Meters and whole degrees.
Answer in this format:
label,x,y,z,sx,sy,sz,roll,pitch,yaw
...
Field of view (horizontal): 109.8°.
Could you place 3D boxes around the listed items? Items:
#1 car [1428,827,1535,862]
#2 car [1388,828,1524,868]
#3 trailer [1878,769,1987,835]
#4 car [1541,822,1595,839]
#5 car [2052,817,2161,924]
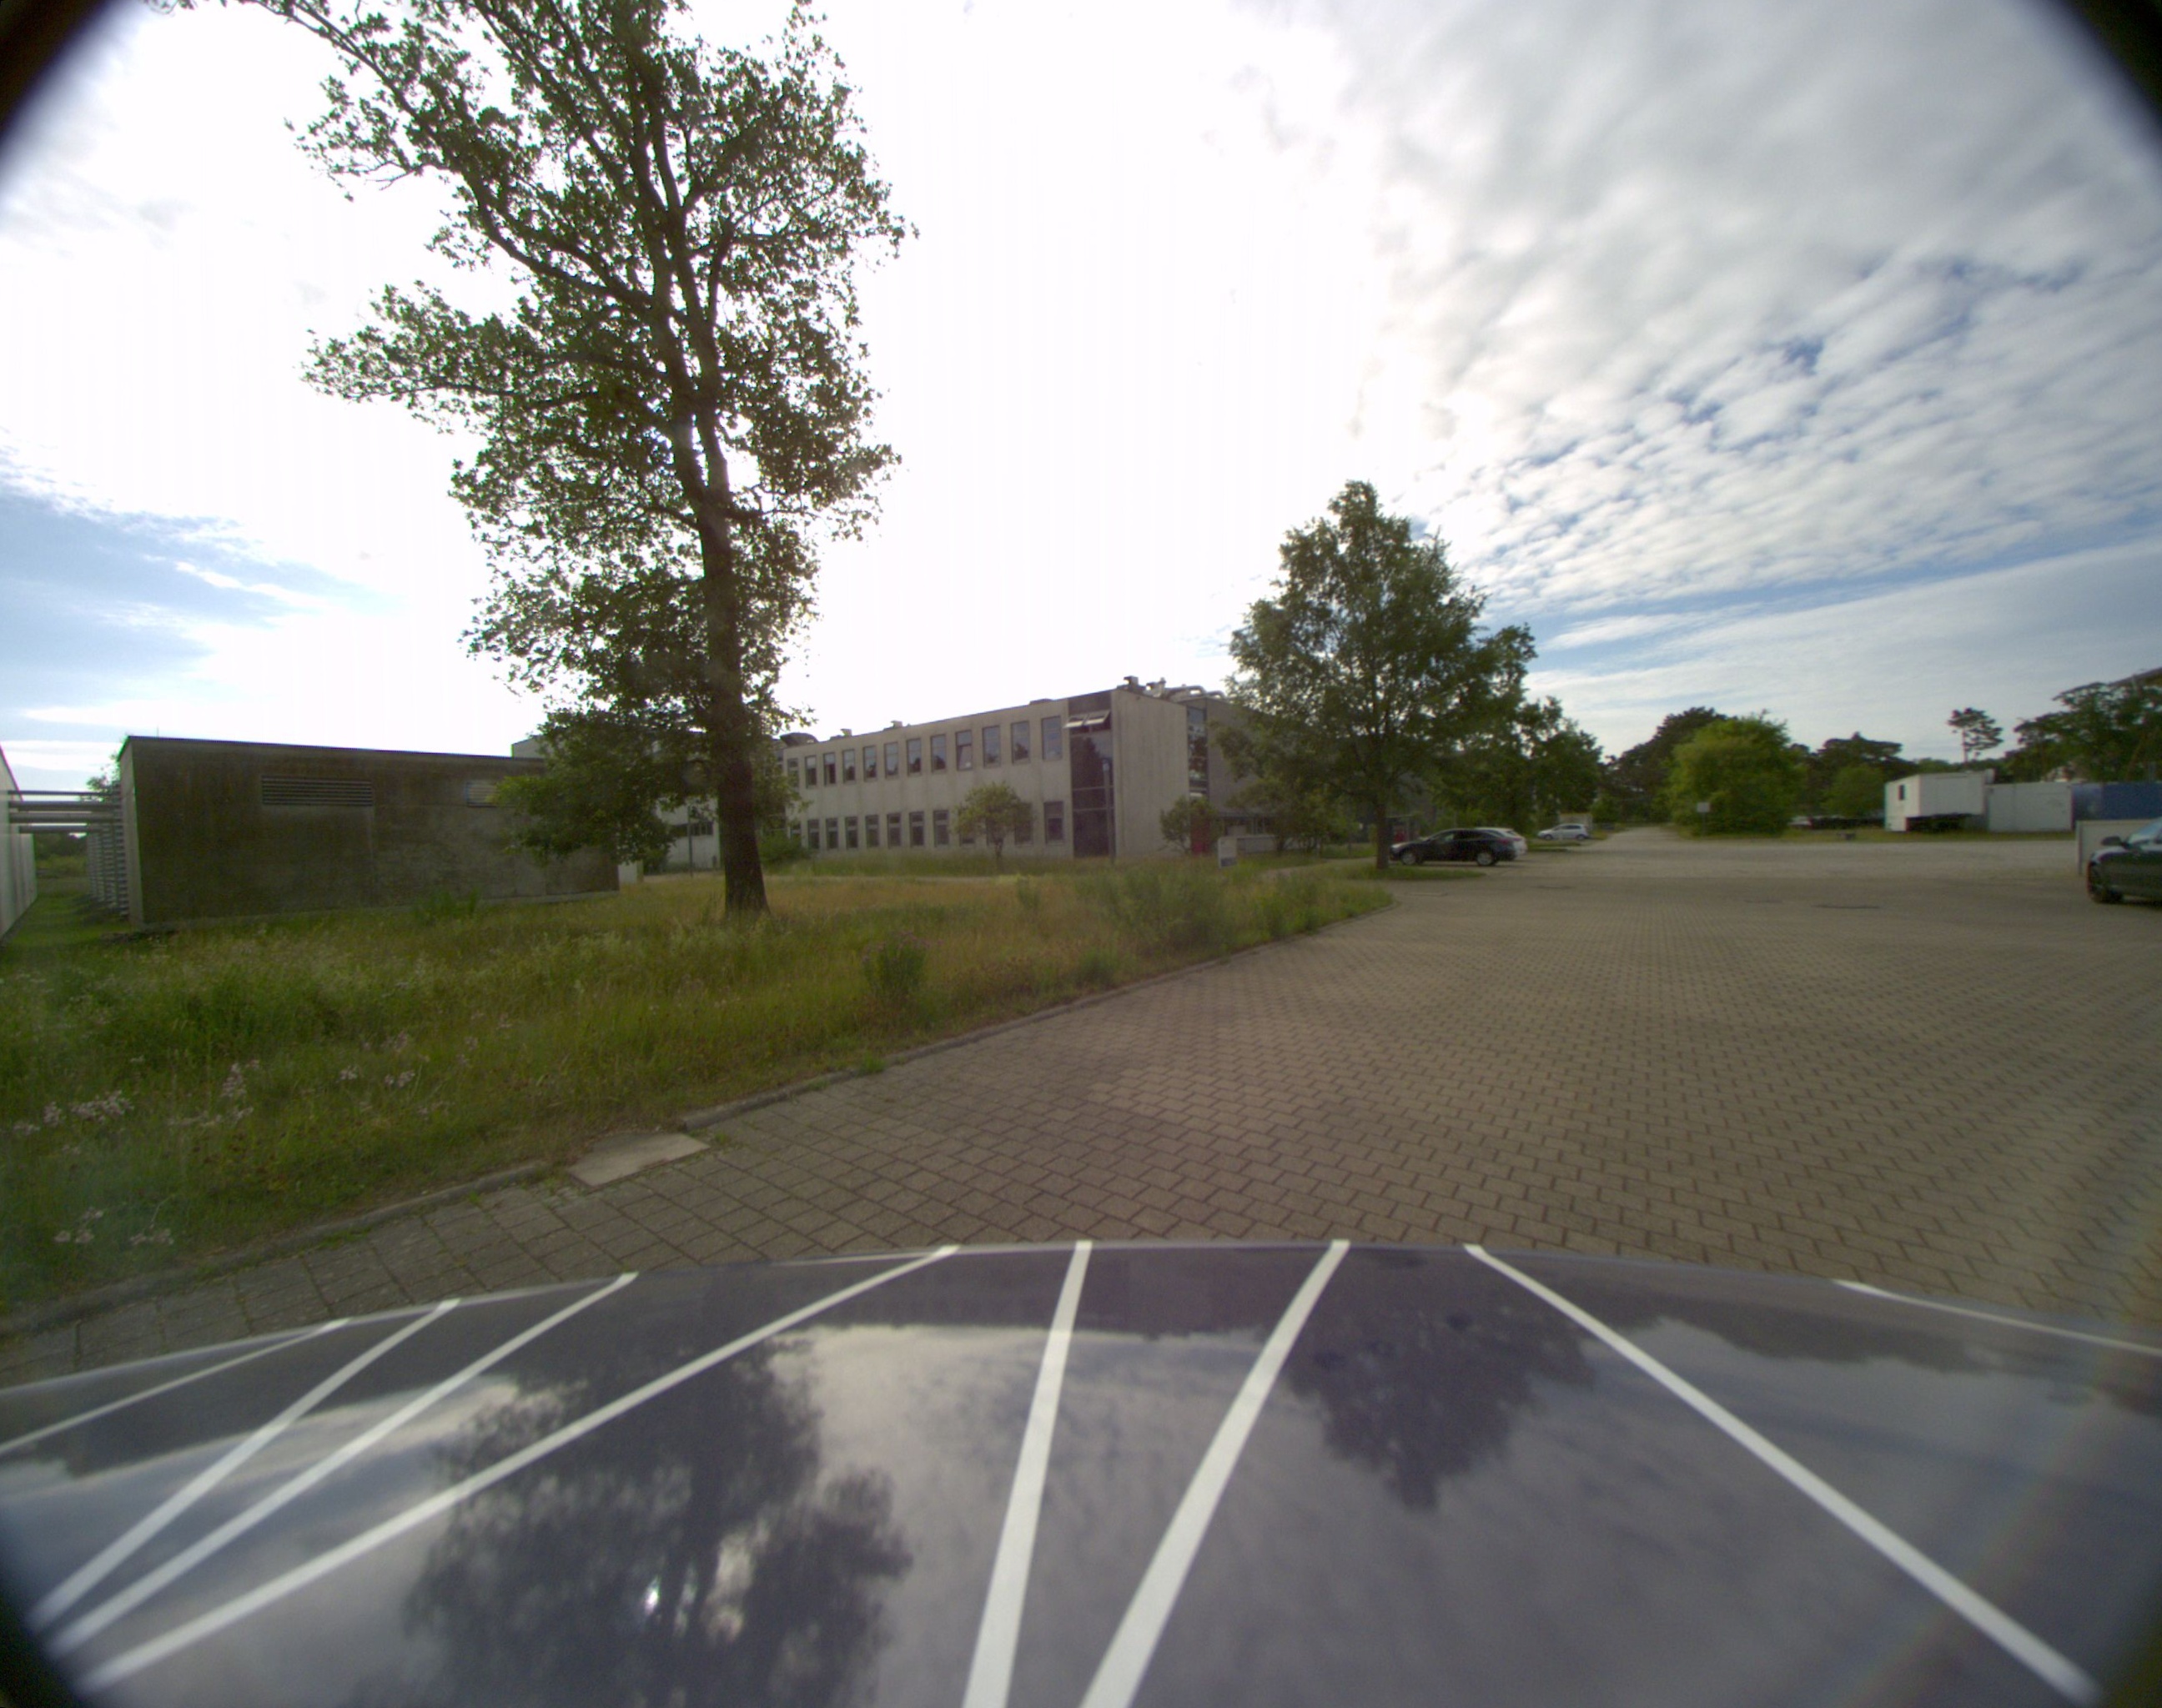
label,x,y,z,sx,sy,sz,roll,pitch,yaw
car,17.857,-0.426,33.954,3.977,1.458,1.886,0,2,37
car,14.612,-0.268,29.735,4.465,1.439,1.948,1,3,37
trailer,53.299,-3.130,47.869,2.870,3.641,10.797,0,2,39
car,45.528,-2.209,71.021,4.122,1.616,1.942,1,4,35
car,16.295,0.196,10.717,1.925,1.453,4.820,0,2,36
